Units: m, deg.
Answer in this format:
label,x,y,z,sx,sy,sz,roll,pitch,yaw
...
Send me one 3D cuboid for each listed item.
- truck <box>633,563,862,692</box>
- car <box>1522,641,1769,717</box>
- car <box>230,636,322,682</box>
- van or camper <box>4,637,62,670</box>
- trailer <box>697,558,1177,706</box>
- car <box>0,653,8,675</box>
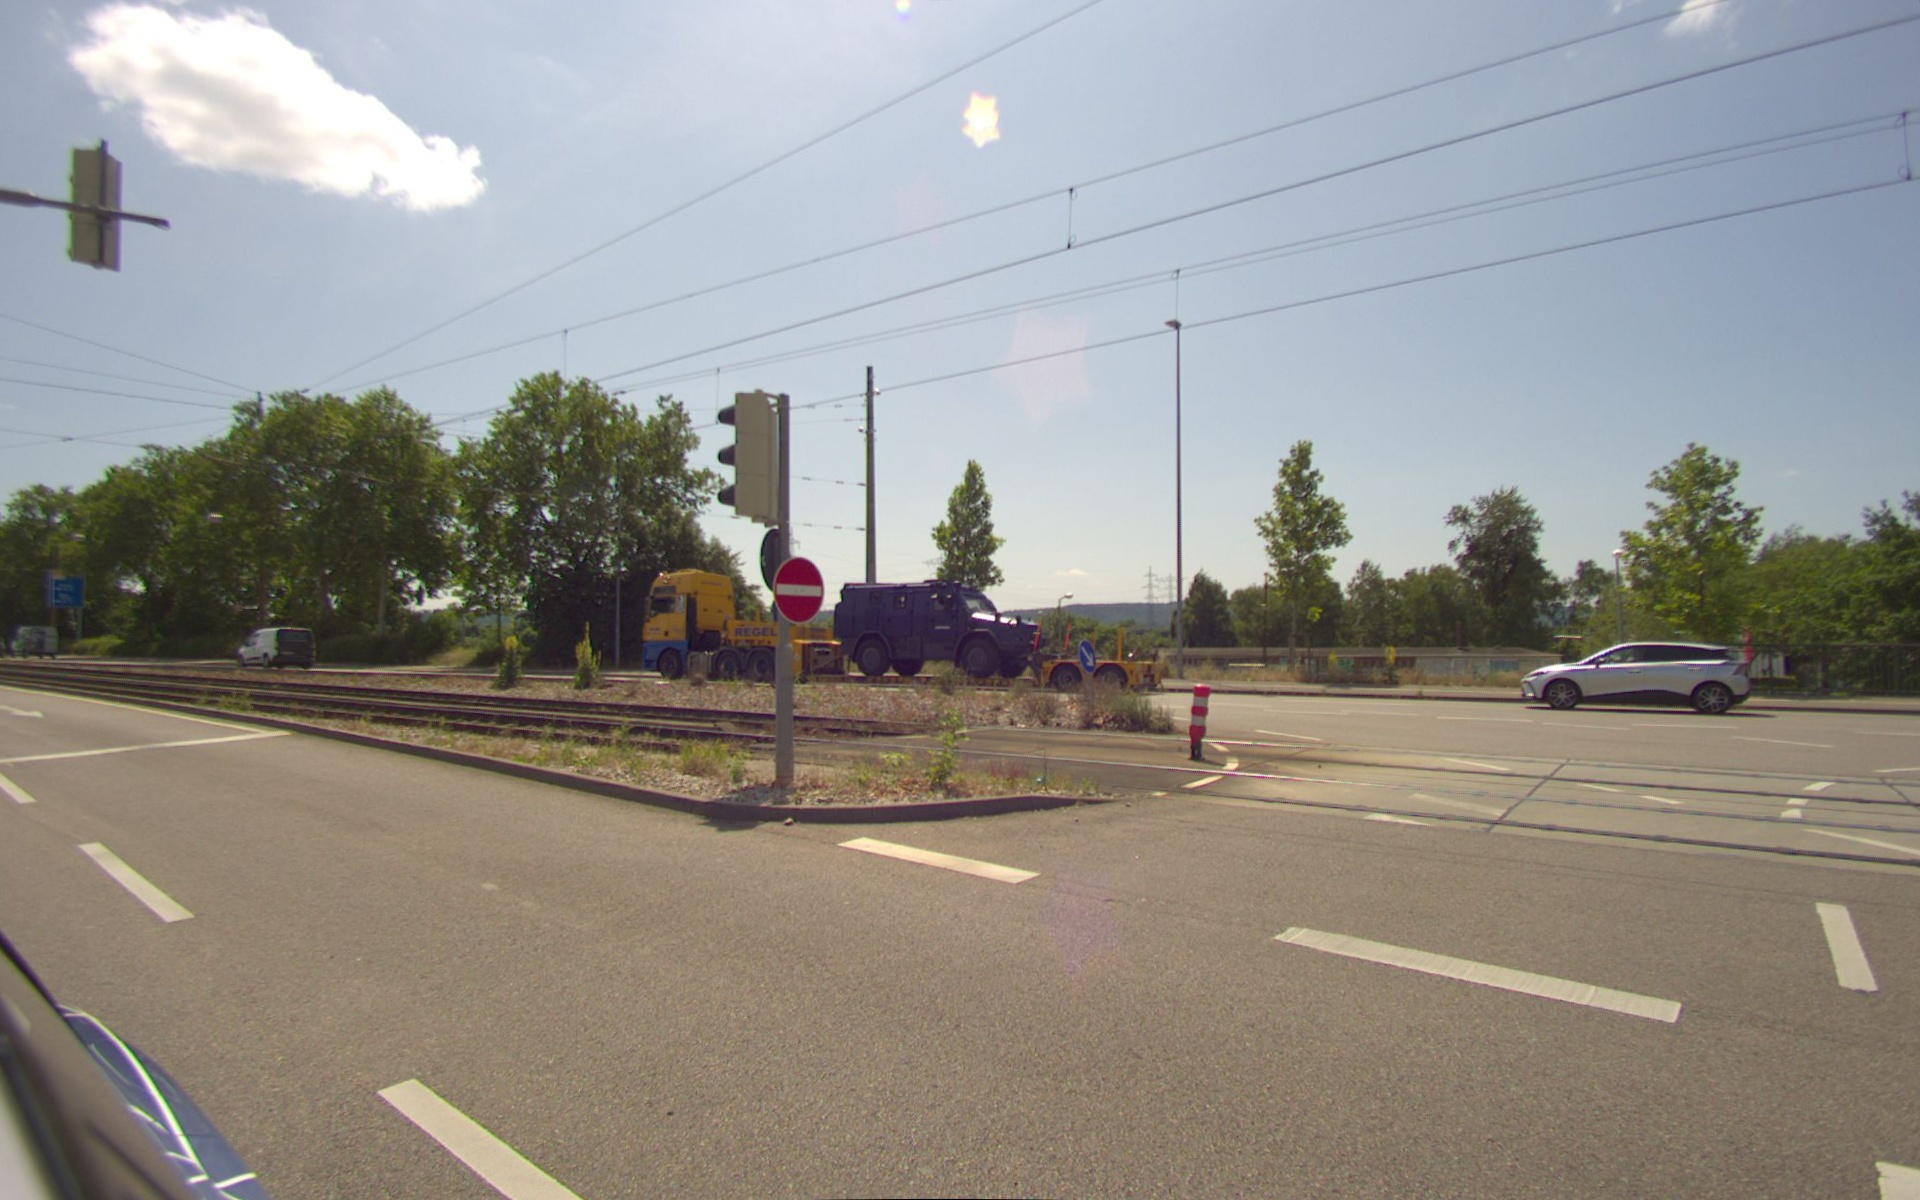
label,x,y,z,sx,sy,sz,roll,pitch,yaw
truck,-7.368,1.020,34.895,7.438,4.070,3.107,-2,-2,27
car,14.854,1.684,22.211,4.265,1.474,1.978,-2,-2,33
car,-30.872,2.685,45.660,4.422,1.852,1.976,-5,-6,34
van or camper,-74.972,4.351,81.813,5.827,2.606,1.977,-2,-4,33
trailer,-1.249,1.137,31.636,15.407,3.900,3.096,-2,-2,28
car,-74.675,4.885,77.226,4.252,1.649,1.977,-2,-5,33
